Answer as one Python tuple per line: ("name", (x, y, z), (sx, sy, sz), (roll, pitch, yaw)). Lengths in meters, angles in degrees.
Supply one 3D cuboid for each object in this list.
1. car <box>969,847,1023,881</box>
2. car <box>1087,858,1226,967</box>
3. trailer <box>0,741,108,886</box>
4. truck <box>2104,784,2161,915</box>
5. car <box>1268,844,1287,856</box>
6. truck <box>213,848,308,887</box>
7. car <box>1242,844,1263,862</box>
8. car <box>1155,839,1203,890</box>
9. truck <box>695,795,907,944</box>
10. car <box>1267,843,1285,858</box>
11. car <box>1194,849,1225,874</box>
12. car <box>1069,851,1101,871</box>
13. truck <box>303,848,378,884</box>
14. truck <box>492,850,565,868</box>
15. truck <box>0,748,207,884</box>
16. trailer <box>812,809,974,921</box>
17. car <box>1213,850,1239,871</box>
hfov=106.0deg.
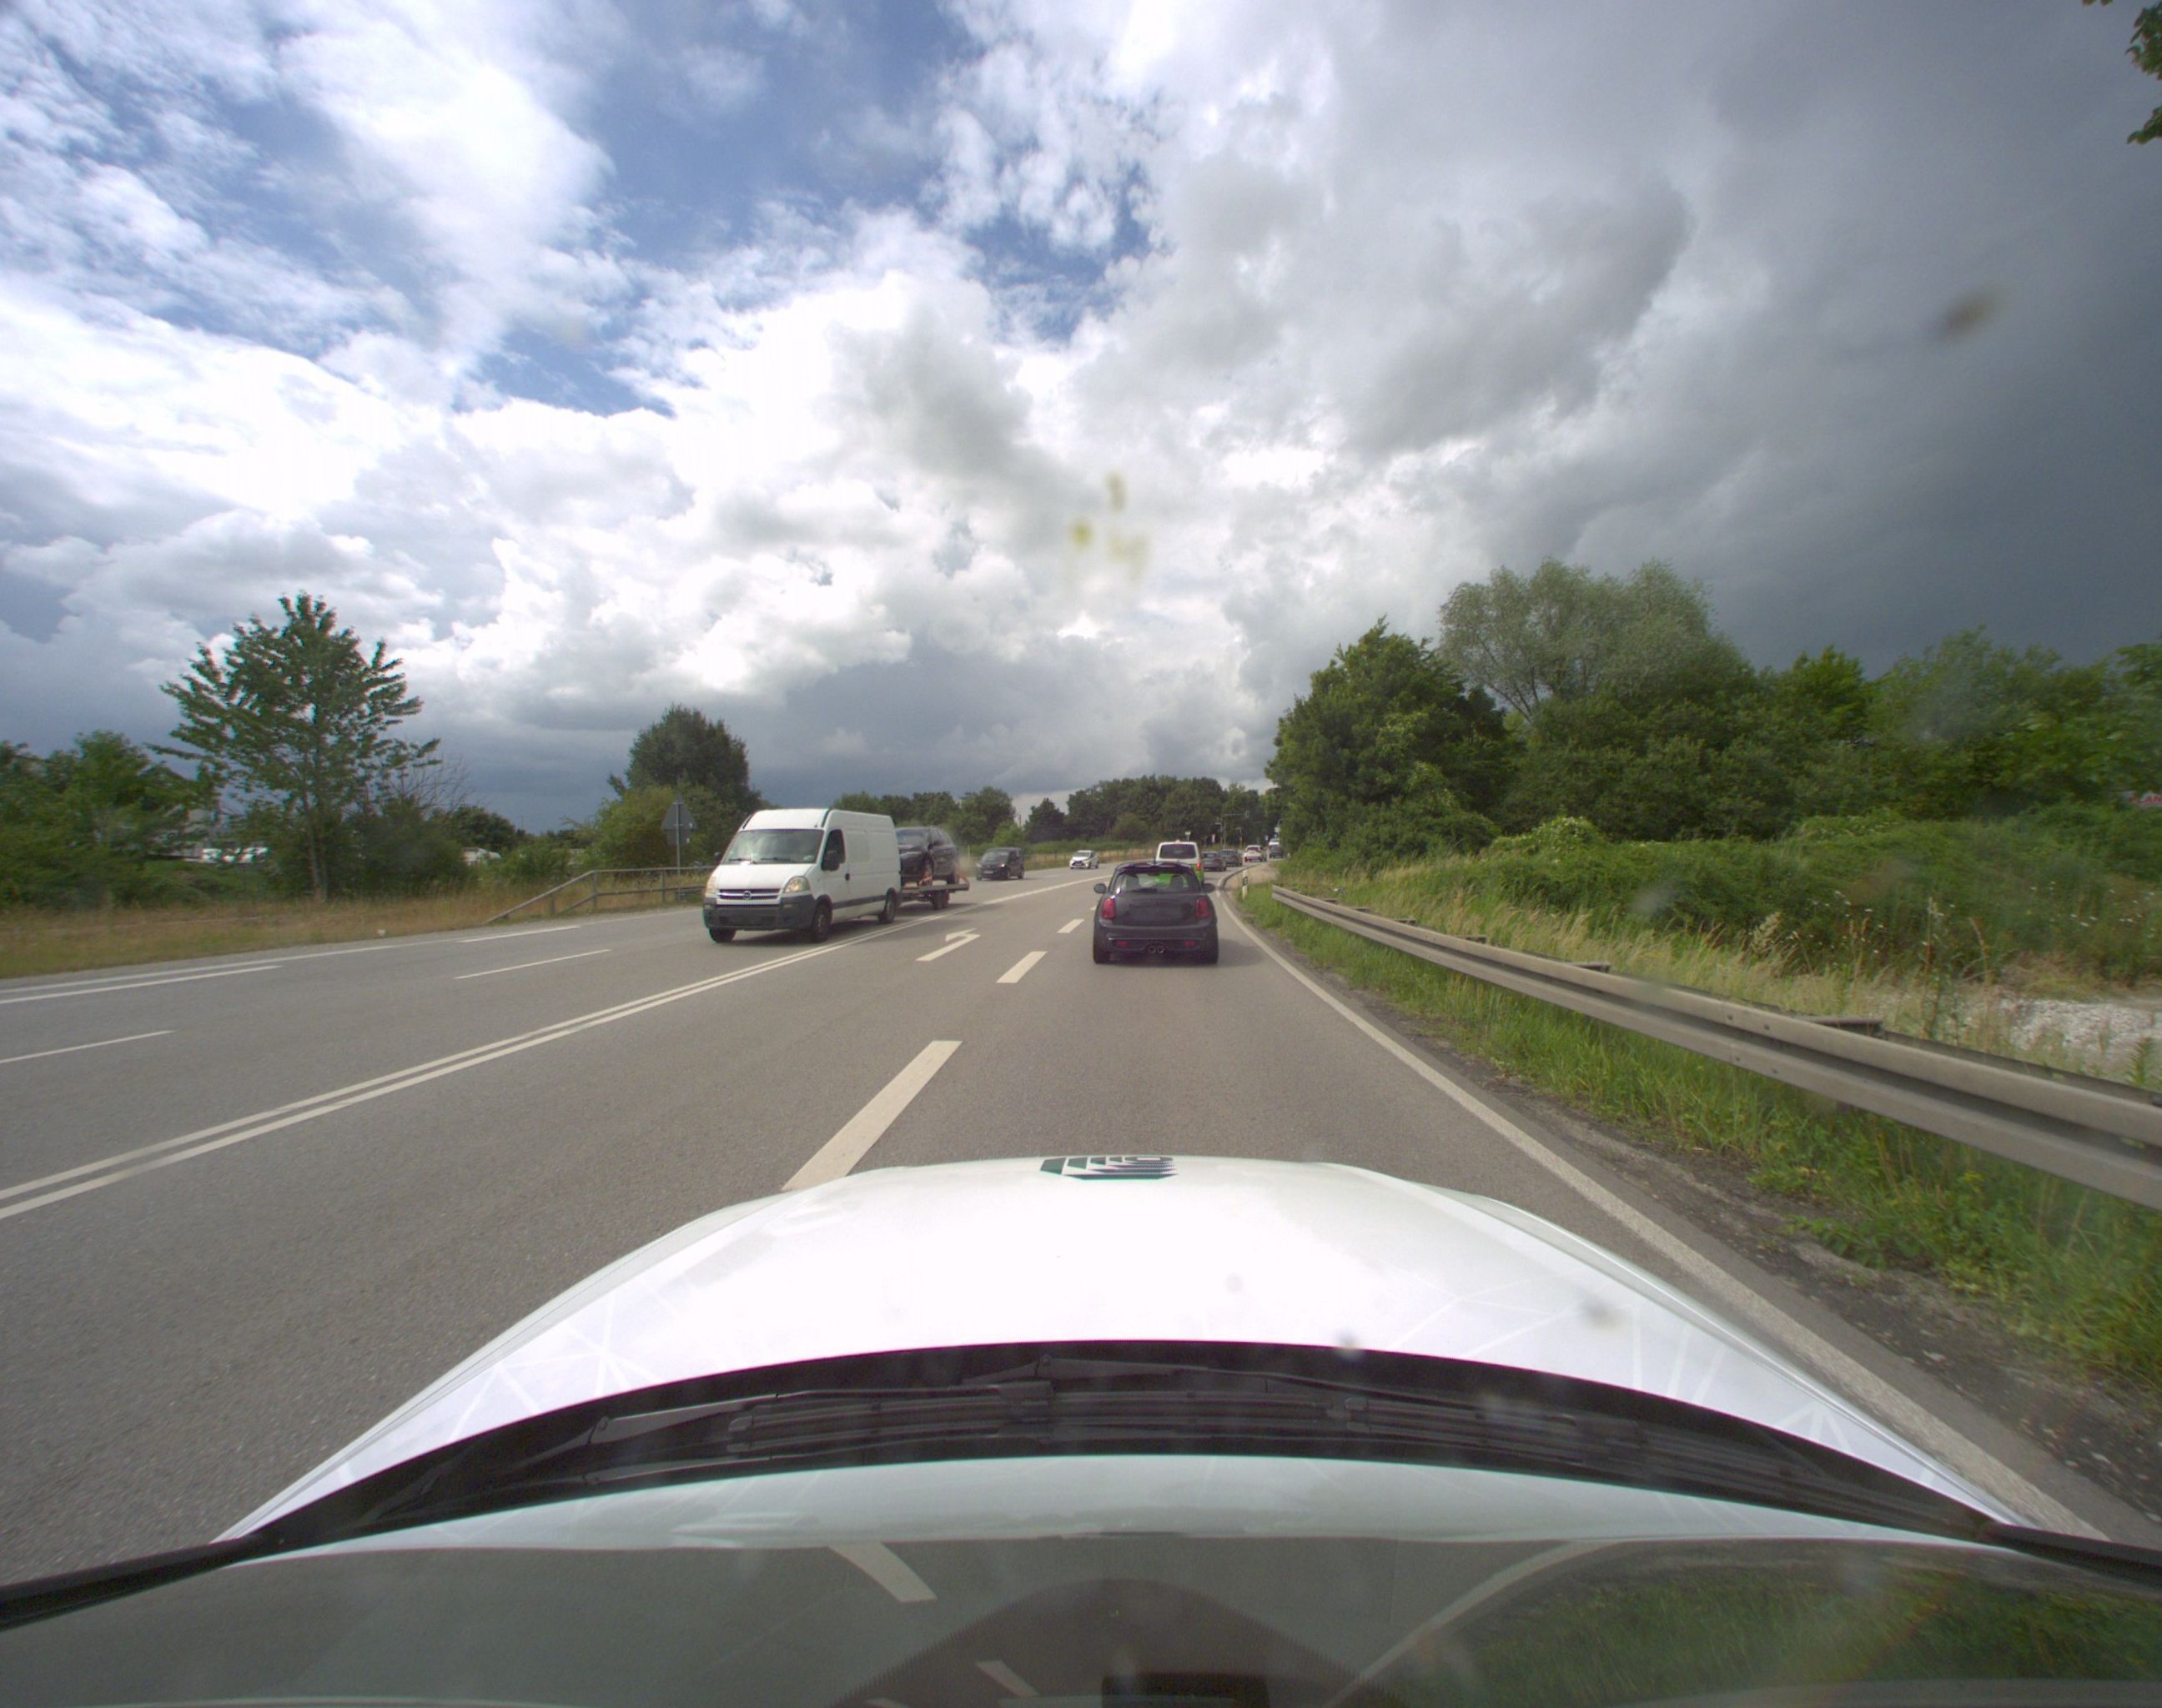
("car", (-4.611, 0.518, 44.817), (1.982, 1.797, 4.330), (0, 0, 8))
("car", (1.059, 0.788, 12.706), (1.838, 1.428, 3.842), (0, -1, 2))
("trailer", (-38.385, -1.399, 27.108), (2.801, 4.996, 8.945), (0, 0, -13))
("truck", (42.622, -0.247, 30.344), (6.134, 4.786, 2.662), (-2, 0, -6))
("car", (34.127, -0.717, 141.637), (1.975, 2.013, 4.696), (0, 0, 29))
("truck", (-60.192, 0.920, 59.931), (2.657, 2.682, 6.603), (0, 0, -24))
("car", (17.423, -0.080, 82.721), (1.980, 1.684, 4.014), (1, 0, 13))
("car", (4.100, 0.412, 33.511), (1.834, 1.987, 3.850), (0, -1, 8))
("truck", (-5.179, 0.248, 15.995), (2.013, 2.444, 5.032), (0, 0, 5))
("car", (22.971, -0.424, 96.072), (1.980, 1.684, 4.014), (1, 0, 13))
("car", (9.273, 0.524, 58.556), (1.981, 1.684, 4.012), (1, 0, 11))
("car", (0.335, 0.535, 65.377), (1.864, 1.489, 3.756), (0, 0, 12))
("truck", (-58.711, 0.881, 64.767), (2.658, 2.682, 6.598), (-1, 0, -26))
("truck", (-63.270, 0.570, 93.524), (1.977, 2.014, 7.168), (0, -1, 19))
("truck", (-39.751, -1.407, 33.070), (2.798, 4.996, 6.163), (0, 0, -13))
("trailer", (-4.615, 0.233, 21.426), (2.013, 2.444, 6.977), (0, 0, 6))
("car", (12.358, 0.532, 69.327), (1.980, 1.684, 3.991), (1, 0, 13))
